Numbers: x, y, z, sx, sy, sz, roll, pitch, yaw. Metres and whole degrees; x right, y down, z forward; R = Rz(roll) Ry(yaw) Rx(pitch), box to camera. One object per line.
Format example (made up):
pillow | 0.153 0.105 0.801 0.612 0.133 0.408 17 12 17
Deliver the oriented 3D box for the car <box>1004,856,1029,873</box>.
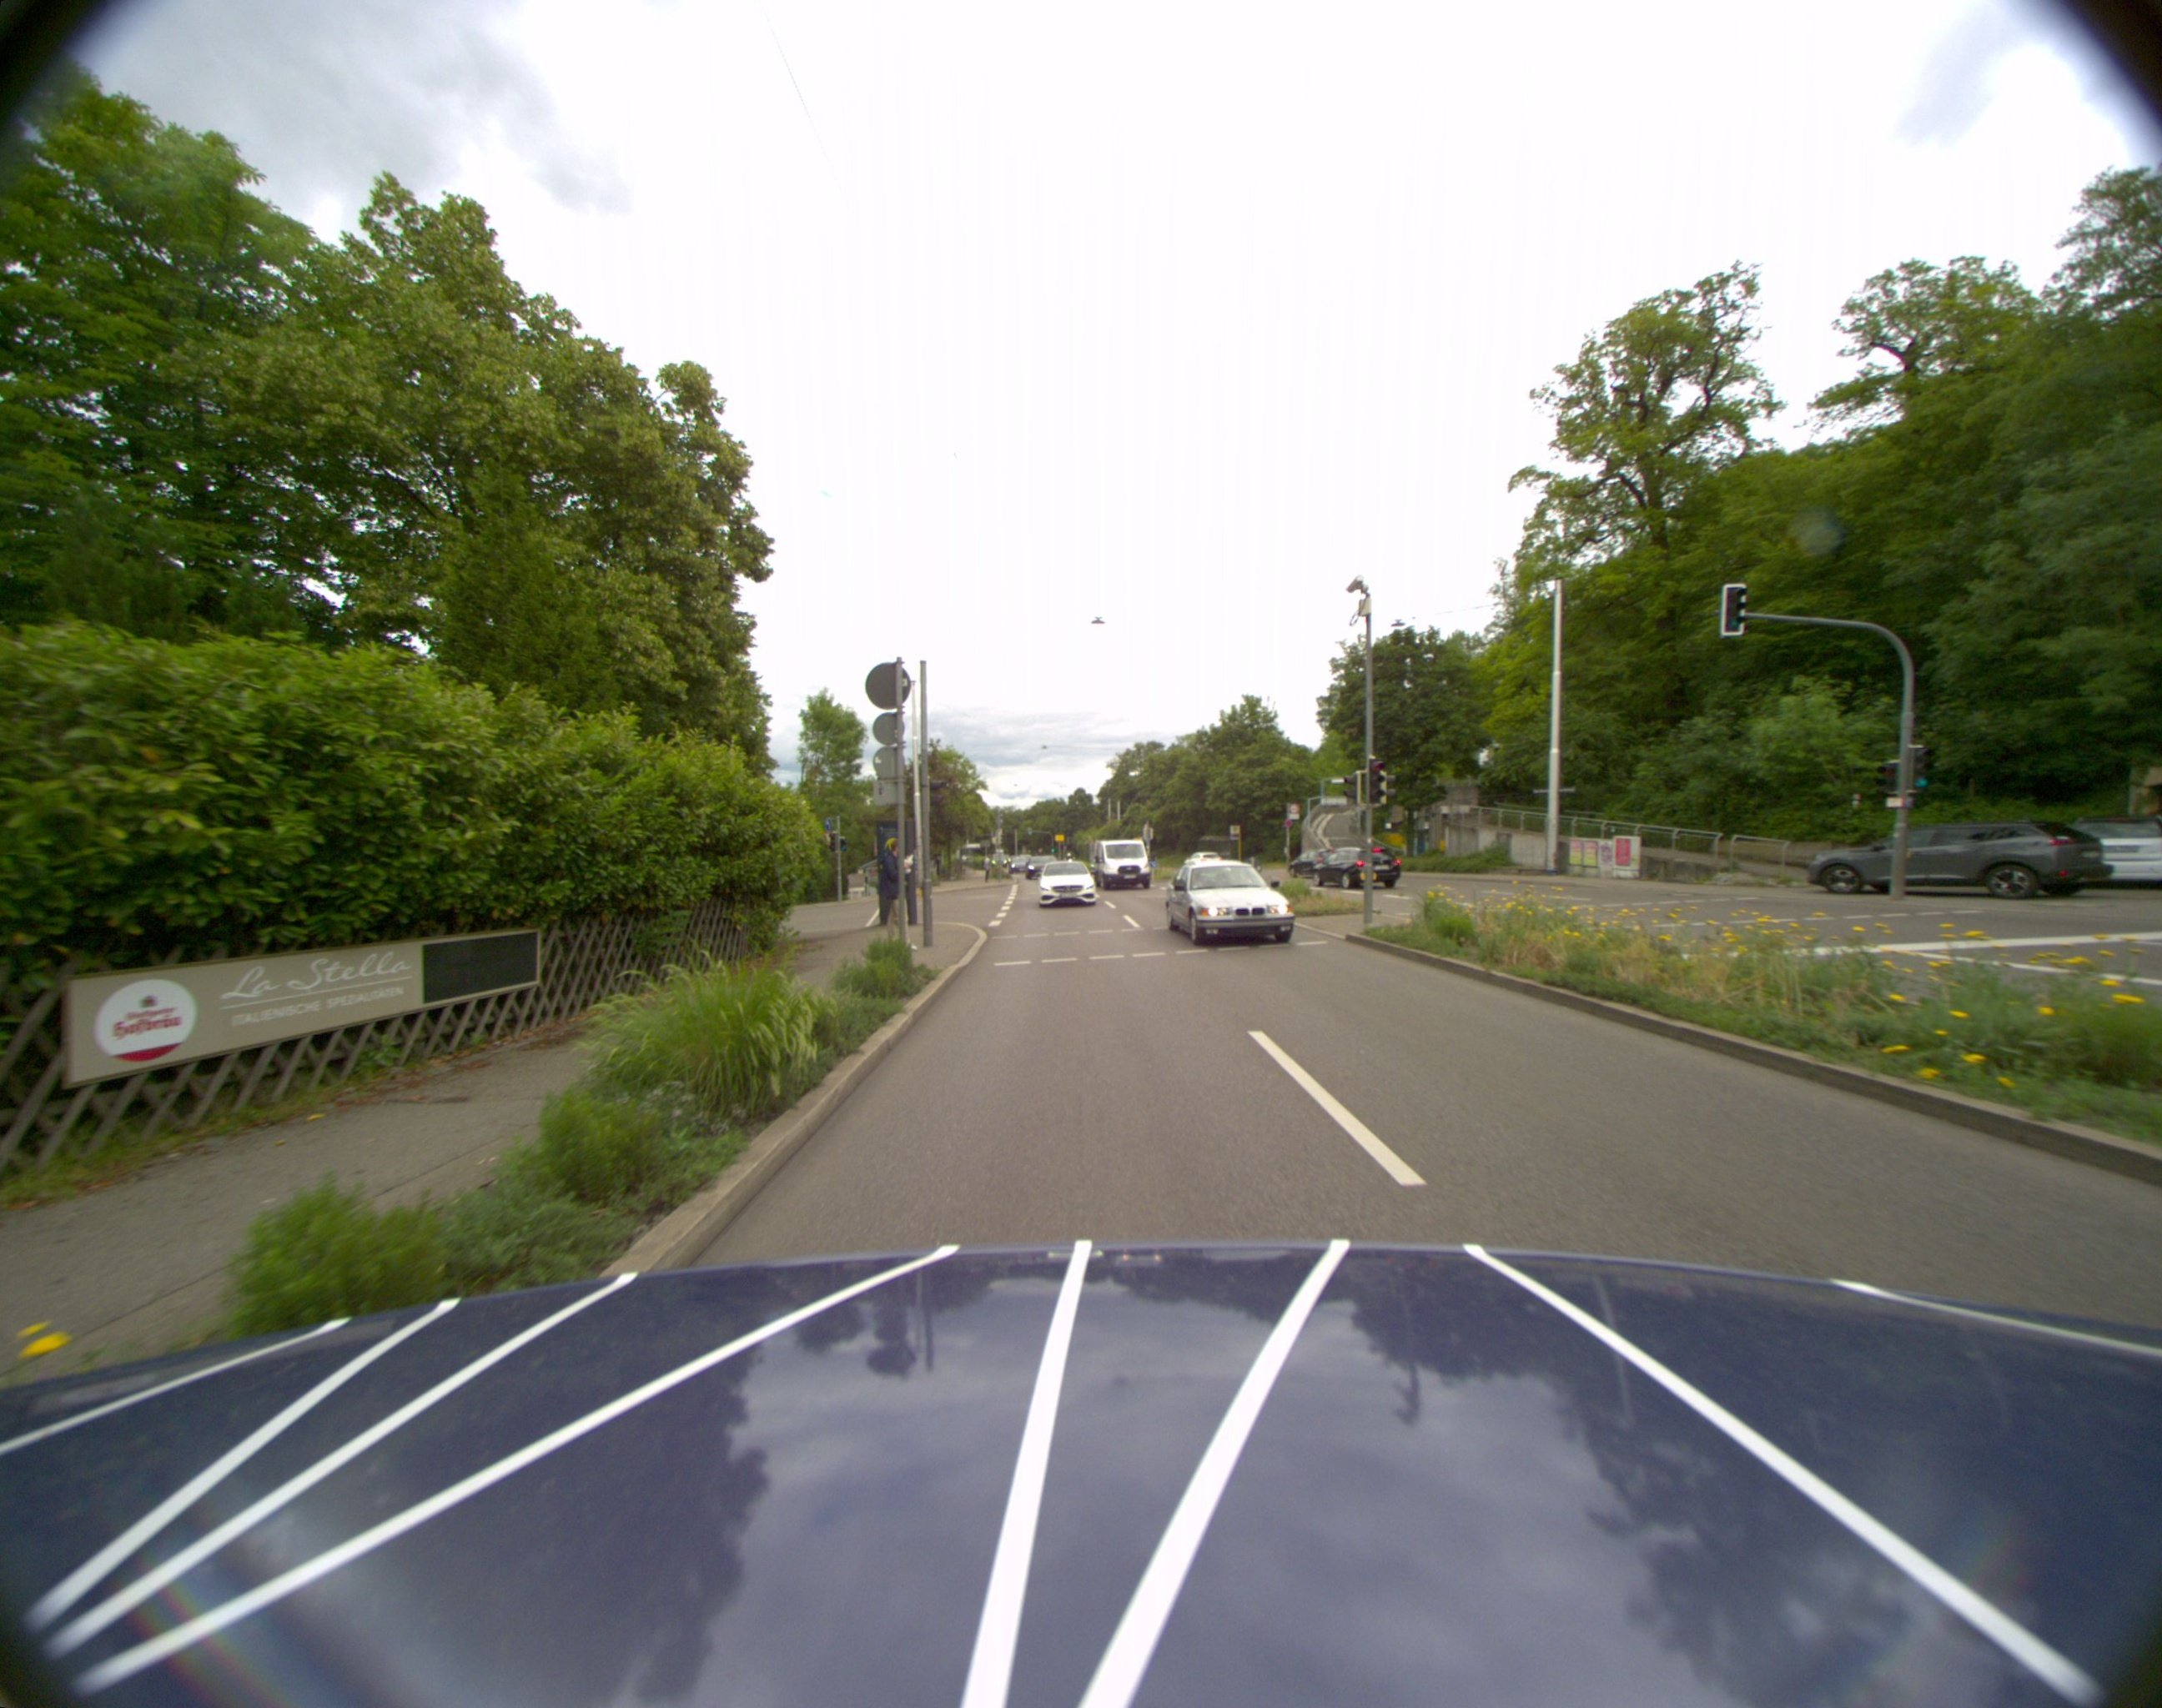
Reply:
car | -5.786 0.919 67.789 1.809 1.385 4.280 -1 0 -11

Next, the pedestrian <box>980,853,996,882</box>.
pedestrian | -5.480 0.789 44.819 0.693 1.679 0.621 1 2 42

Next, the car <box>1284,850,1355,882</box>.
car | 11.805 0.584 37.864 1.631 1.385 3.853 -4 0 -12

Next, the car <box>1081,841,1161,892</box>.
car | 1.683 0.523 35.315 2.255 2.113 6.663 -2 0 -10

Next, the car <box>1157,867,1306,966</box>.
car | 2.593 1.013 14.191 1.757 1.385 4.614 -2 0 -1

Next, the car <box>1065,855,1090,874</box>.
car | -0.298 0.821 62.787 1.678 1.532 4.551 -1 0 -5

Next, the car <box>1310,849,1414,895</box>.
car | 10.271 0.615 28.167 1.697 1.492 4.552 -3 0 -7

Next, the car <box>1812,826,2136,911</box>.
car | 18.419 0.269 15.983 1.600 1.531 4.127 -1 0 -17

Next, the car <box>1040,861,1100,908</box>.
car | -0.385 0.939 25.173 1.807 1.385 4.283 -1 0 -1

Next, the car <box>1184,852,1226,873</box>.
car | 8.976 0.627 55.406 1.656 1.385 4.140 -4 0 -10

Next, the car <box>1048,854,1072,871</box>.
car | -2.003 0.786 70.844 1.679 1.532 4.611 -1 0 -9

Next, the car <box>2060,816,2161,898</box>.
car | 22.502 0.027 16.314 2.714 1.512 1.560 -5 2 -33

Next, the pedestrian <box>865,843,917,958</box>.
pedestrian | -3.139 0.749 12.635 0.695 1.823 0.619 -3 1 -9

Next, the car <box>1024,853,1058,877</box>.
car | -2.740 0.725 51.735 1.679 1.532 4.610 -1 0 -11

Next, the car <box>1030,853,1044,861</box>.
car | -8.173 0.601 141.036 1.724 1.385 4.603 -1 0 -13
